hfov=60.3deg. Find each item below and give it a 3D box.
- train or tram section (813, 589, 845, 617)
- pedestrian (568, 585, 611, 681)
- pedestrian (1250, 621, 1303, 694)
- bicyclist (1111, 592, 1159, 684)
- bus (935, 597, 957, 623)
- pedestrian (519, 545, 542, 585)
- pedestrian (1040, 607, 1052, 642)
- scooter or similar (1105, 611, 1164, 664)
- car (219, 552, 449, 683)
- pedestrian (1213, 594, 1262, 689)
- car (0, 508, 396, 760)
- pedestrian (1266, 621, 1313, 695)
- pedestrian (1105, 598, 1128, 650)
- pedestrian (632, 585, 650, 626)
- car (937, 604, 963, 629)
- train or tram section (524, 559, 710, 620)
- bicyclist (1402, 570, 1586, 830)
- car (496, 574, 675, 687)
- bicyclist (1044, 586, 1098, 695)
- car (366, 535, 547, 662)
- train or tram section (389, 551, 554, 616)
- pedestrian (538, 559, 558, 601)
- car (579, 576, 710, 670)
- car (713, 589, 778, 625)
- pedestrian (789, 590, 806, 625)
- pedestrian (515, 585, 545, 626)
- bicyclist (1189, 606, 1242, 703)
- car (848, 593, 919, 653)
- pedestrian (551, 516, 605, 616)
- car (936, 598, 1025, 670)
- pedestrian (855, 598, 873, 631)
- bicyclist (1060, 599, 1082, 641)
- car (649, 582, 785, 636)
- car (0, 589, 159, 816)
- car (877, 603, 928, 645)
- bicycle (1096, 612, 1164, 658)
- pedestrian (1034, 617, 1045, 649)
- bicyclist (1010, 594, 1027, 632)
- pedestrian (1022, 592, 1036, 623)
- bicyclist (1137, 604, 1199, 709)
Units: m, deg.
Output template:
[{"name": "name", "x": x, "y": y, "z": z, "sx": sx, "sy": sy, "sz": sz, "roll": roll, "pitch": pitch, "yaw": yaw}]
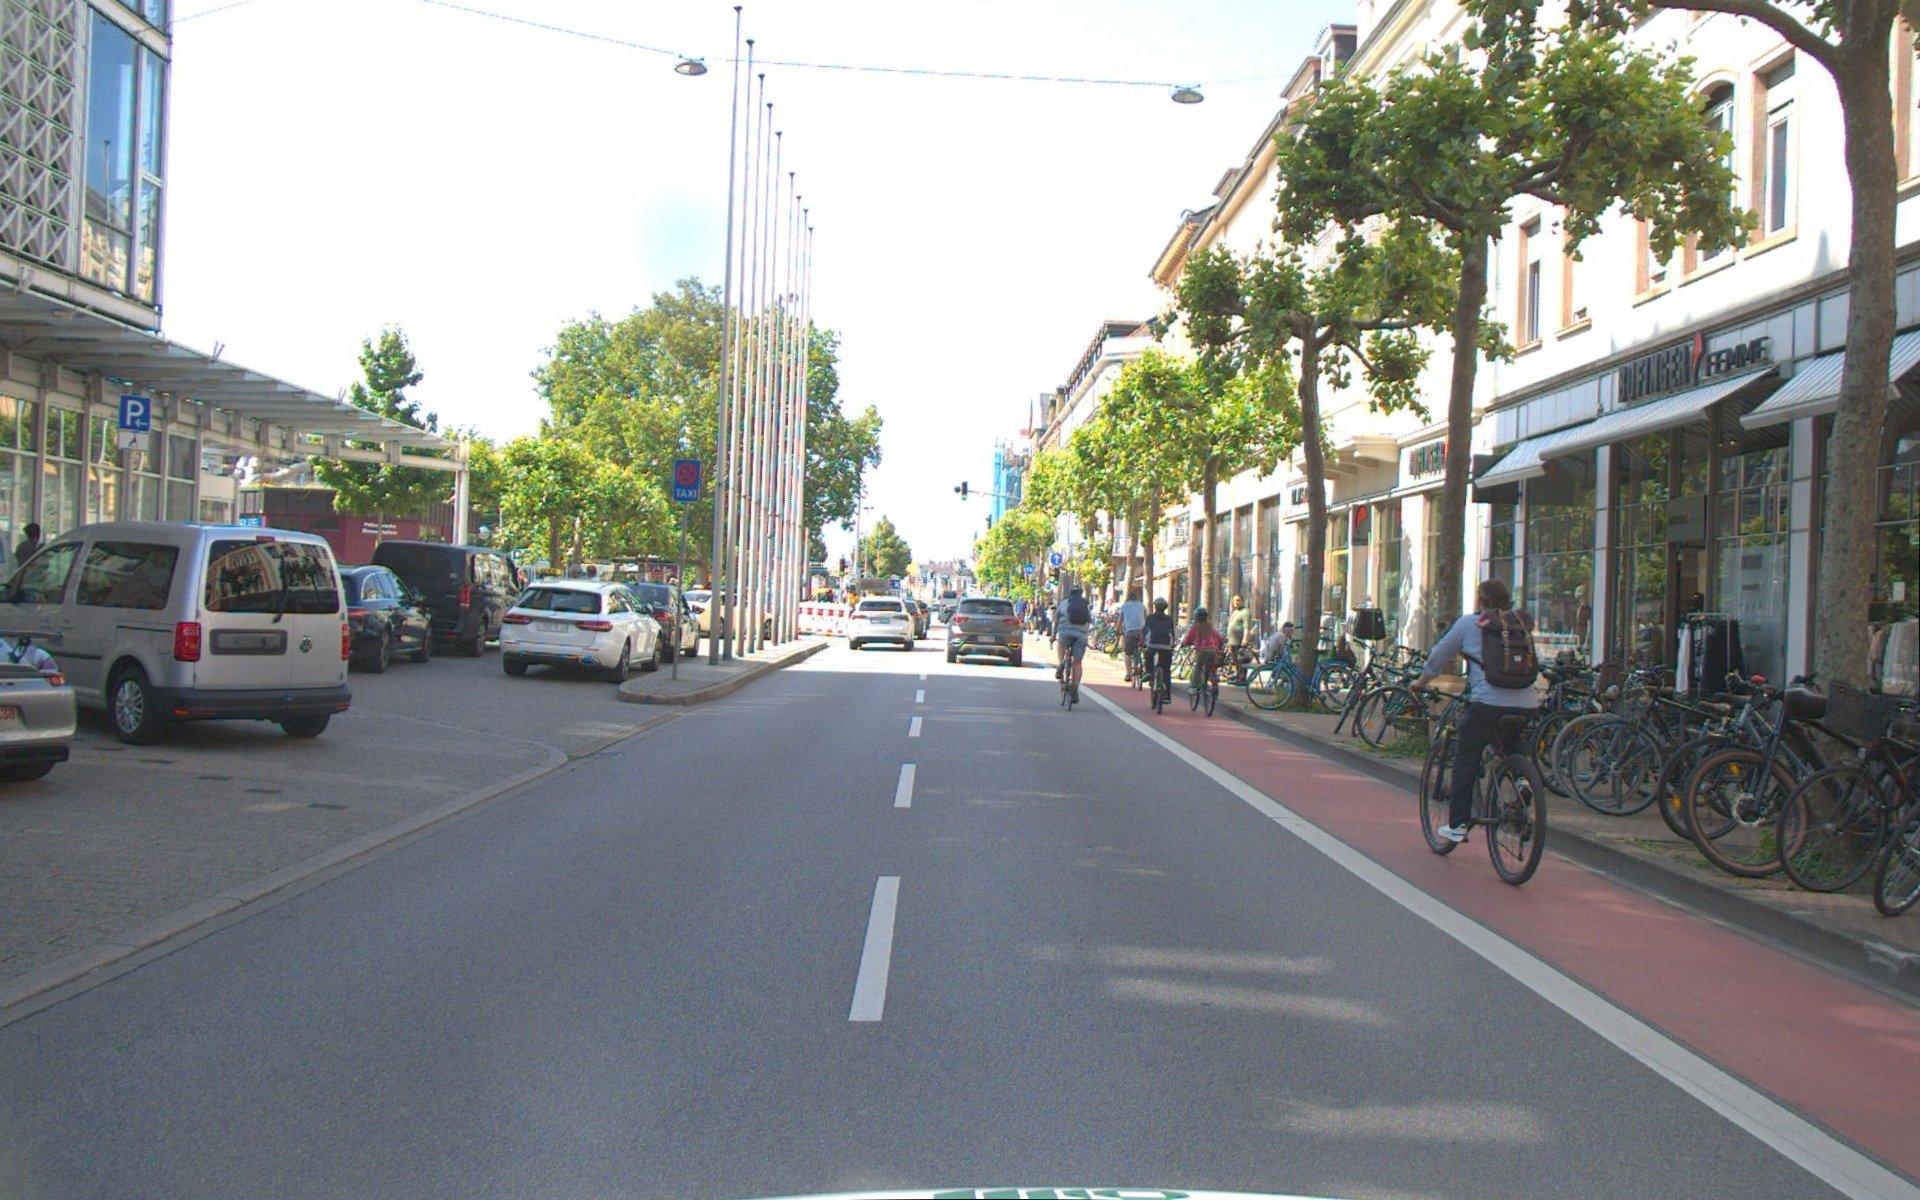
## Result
[{"name": "train or tram section", "x": -16.440, "y": 0.415, "z": 208.064, "sx": 2.558, "sy": 3.407, "sz": 11.005, "roll": 2, "pitch": 0, "yaw": 3}, {"name": "pedestrian", "x": -7.177, "y": 0.633, "z": 32.036, "sx": 0.522, "sy": 1.824, "sz": 0.536, "roll": 2, "pitch": -1, "yaw": 38}, {"name": "pedestrian", "x": 5.692, "y": 1.036, "z": 29.780, "sx": 0.772, "sy": 1.265, "sz": 0.576, "roll": 3, "pitch": -2, "yaw": -4}, {"name": "bicyclist", "x": 3.236, "y": 0.697, "z": 30.669, "sx": 0.758, "sy": 1.664, "sz": 0.851, "roll": 2, "pitch": 0, "yaw": -1}, {"name": "bus", "x": -2.057, "y": 1.565, "z": 244.575, "sx": 2.934, "sy": 3.657, "sz": 11.740, "roll": 2, "pitch": -1, "yaw": -1}, {"name": "pedestrian", "x": -20.119, "y": -1.636, "z": 77.462, "sx": 0.593, "sy": 1.780, "sz": 0.802, "roll": 1, "pitch": -2, "yaw": 30}, {"name": "pedestrian", "x": 4.044, "y": 1.152, "z": 77.775, "sx": 0.537, "sy": 1.659, "sz": 0.589, "roll": 1, "pitch": -1, "yaw": 2}, {"name": "scooter or similar", "x": 4.593, "y": 0.993, "z": 43.558, "sx": 1.443, "sy": 1.296, "sz": 0.670, "roll": 3, "pitch": -1, "yaw": 10}, {"name": "car", "x": -9.009, "y": 0.242, "z": 24.225, "sx": 1.955, "sy": 1.638, "sz": 4.395, "roll": 3, "pitch": 0, "yaw": -5}, {"name": "pedestrian", "x": 5.276, "y": 0.777, "z": 31.508, "sx": 0.626, "sy": 1.718, "sz": 0.843, "roll": 4, "pitch": 0, "yaw": -3}, {"name": "car", "x": -7.295, "y": 0.208, "z": 14.908, "sx": 4.357, "sy": 1.943, "sz": 2.002, "roll": 2, "pitch": 0, "yaw": 36}, {"name": "pedestrian", "x": 5.809, "y": 1.020, "z": 29.190, "sx": 0.626, "sy": 1.254, "sz": 0.596, "roll": 3, "pitch": -2, "yaw": -3}, {"name": "pedestrian", "x": 5.000, "y": 0.768, "z": 52.943, "sx": 0.602, "sy": 1.640, "sz": 0.745, "roll": 2, "pitch": -1, "yaw": 0}, {"name": "pedestrian", "x": -14.242, "y": 0.248, "z": 73.885, "sx": 0.572, "sy": 1.752, "sz": 0.789, "roll": 2, "pitch": -4, "yaw": 1}, {"name": "car", "x": -0.799, "y": 1.254, "z": 126.195, "sx": 1.808, "sy": 1.697, "sz": 3.998, "roll": 3, "pitch": 0, "yaw": -2}, {"name": "train or tram section", "x": -23.950, "y": -0.640, "z": 117.057, "sx": 2.568, "sy": 3.741, "sz": 15.497, "roll": 2, "pitch": 0, "yaw": 34}, {"name": "bicyclist", "x": 3.219, "y": 0.582, "z": 10.051, "sx": 0.685, "sy": 1.471, "sz": 0.960, "roll": 3, "pitch": -1, "yaw": -4}, {"name": "car", "x": -5.862, "y": 0.427, "z": 26.438, "sx": 1.762, "sy": 1.549, "sz": 4.738, "roll": 3, "pitch": 0, "yaw": -1}, {"name": "bicyclist", "x": 1.586, "y": 0.575, "z": 23.776, "sx": 0.617, "sy": 1.507, "sz": 1.198, "roll": 2, "pitch": -1, "yaw": -2}, {"name": "car", "x": -8.962, "y": -0.023, "z": 29.851, "sx": 1.795, "sy": 2.049, "sz": 4.684, "roll": 2, "pitch": 0, "yaw": -1}, {"name": "train or tram section", "x": -31.202, "y": -1.006, "z": 106.248, "sx": 2.568, "sy": 3.741, "sz": 10.966, "roll": 2, "pitch": 0, "yaw": 34}, {"name": "pedestrian", "x": -17.639, "y": -0.843, "z": 70.791, "sx": 0.564, "sy": 1.769, "sz": 0.606, "roll": 3, "pitch": -1, "yaw": 5}, {"name": "car", "x": -6.052, "y": 0.410, "z": 32.232, "sx": 1.725, "sy": 1.628, "sz": 4.708, "roll": 2, "pitch": 0, "yaw": -2}, {"name": "car", "x": -12.874, "y": 0.447, "z": 99.520, "sx": 1.821, "sy": 1.989, "sz": 4.761, "roll": 2, "pitch": -1, "yaw": 20}, {"name": "pedestrian", "x": -8.688, "y": 0.385, "z": 88.423, "sx": 0.619, "sy": 1.842, "sz": 0.731, "roll": 2, "pitch": -1, "yaw": 20}, {"name": "pedestrian", "x": -15.090, "y": 0.188, "z": 58.018, "sx": 0.657, "sy": 1.405, "sz": 0.898, "roll": 3, "pitch": -1, "yaw": 8}, {"name": "bicyclist", "x": 3.733, "y": 0.788, "z": 24.154, "sx": 0.588, "sy": 1.381, "sz": 0.720, "roll": 2, "pitch": -2, "yaw": -4}, {"name": "car", "x": -2.112, "y": 0.618, "z": 46.548, "sx": 1.808, "sy": 1.587, "sz": 3.999, "roll": 1, "pitch": 0, "yaw": -1}, {"name": "pedestrian", "x": -7.157, "y": -0.635, "z": 30.983, "sx": 0.608, "sy": 1.824, "sz": 0.690, "roll": 2, "pitch": -1, "yaw": 38}, {"name": "car", "x": 0.432, "y": 0.755, "z": 39.250, "sx": 1.809, "sy": 1.587, "sz": 3.997, "roll": 1, "pitch": 0, "yaw": -3}, {"name": "pedestrian", "x": -4.778, "y": 0.714, "z": 82.635, "sx": 0.619, "sy": 1.623, "sz": 0.686, "roll": 2, "pitch": -1, "yaw": 20}, {"name": "bicyclist", "x": 4.904, "y": 0.877, "z": 72.929, "sx": 0.569, "sy": 1.829, "sz": 0.846, "roll": 0, "pitch": 0, "yaw": -35}, {"name": "car", "x": -7.675, "y": 0.304, "z": 52.754, "sx": 1.854, "sy": 1.568, "sz": 4.857, "roll": 3, "pitch": 0, "yaw": 26}, {"name": "car", "x": -7.581, "y": 0.529, "z": 11.045, "sx": 4.206, "sy": 1.309, "sz": 1.966, "roll": 4, "pitch": 0, "yaw": 30}, {"name": "car", "x": -2.145, "y": 0.888, "z": 61.789, "sx": 1.808, "sy": 1.474, "sz": 3.999, "roll": 1, "pitch": 0, "yaw": -2}, {"name": "bicycle", "x": 4.982, "y": 1.028, "z": 48.477, "sx": 1.891, "sy": 1.270, "sz": 0.736, "roll": 2, "pitch": -1, "yaw": 1}, {"name": "pedestrian", "x": 3.851, "y": 1.598, "z": 80.177, "sx": 0.512, "sy": 1.548, "sz": 0.641, "roll": 1, "pitch": -1, "yaw": 2}, {"name": "bicyclist", "x": 2.486, "y": 0.550, "z": 70.096, "sx": 0.634, "sy": 1.578, "sz": 0.817, "roll": 2, "pitch": -1, "yaw": -1}, {"name": "pedestrian", "x": 3.582, "y": 0.393, "z": 85.414, "sx": 0.598, "sy": 1.542, "sz": 0.677, "roll": -2, "pitch": -1, "yaw": -3}, {"name": "bicyclist", "x": 3.028, "y": 0.816, "z": 24.112, "sx": 0.685, "sy": 1.466, "sz": 0.790, "roll": 3, "pitch": -1, "yaw": -4}]
